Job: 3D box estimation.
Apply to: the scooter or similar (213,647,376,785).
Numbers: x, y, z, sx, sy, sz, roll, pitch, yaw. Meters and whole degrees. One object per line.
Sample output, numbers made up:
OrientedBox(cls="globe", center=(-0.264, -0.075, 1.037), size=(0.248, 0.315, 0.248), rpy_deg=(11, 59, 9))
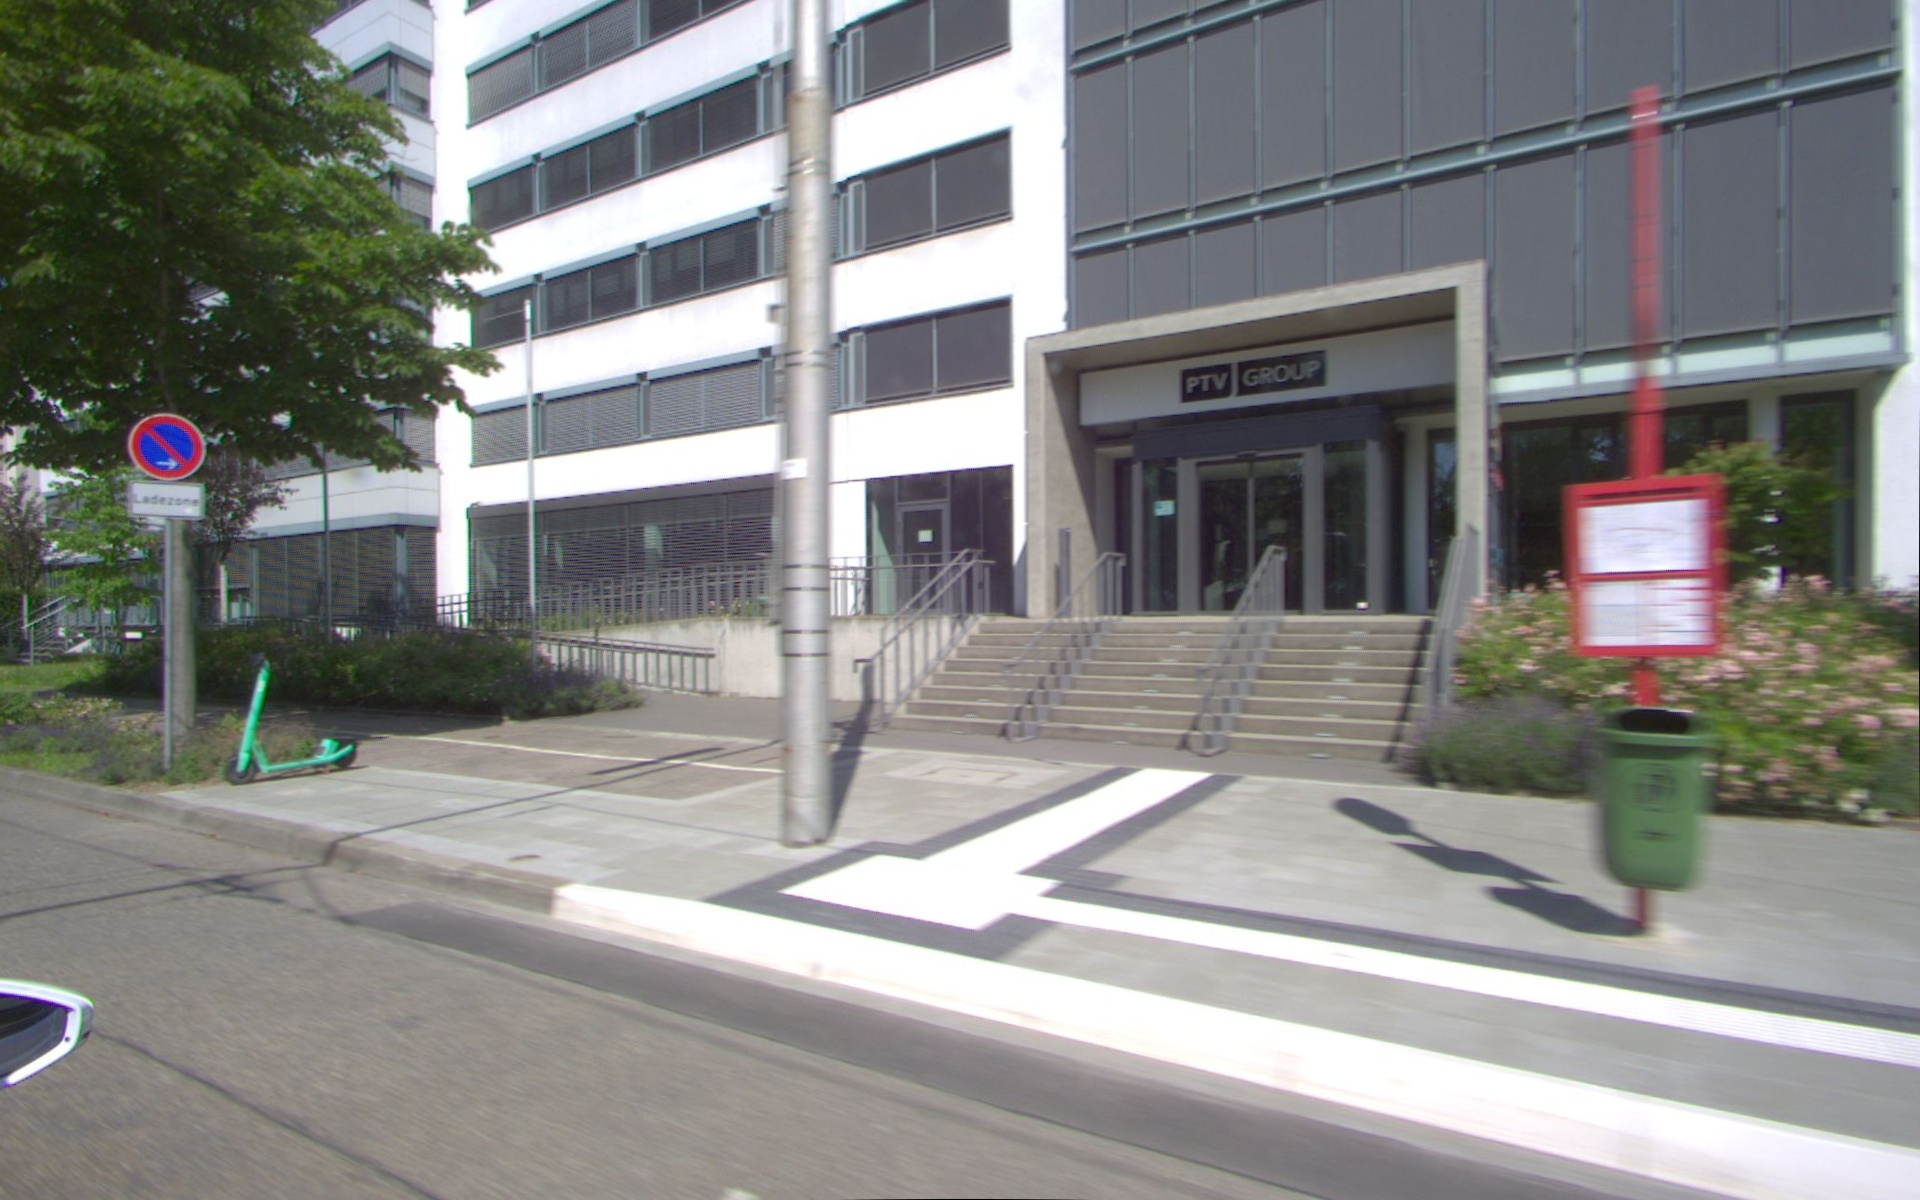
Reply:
OrientedBox(cls="scooter or similar", center=(-6.319, 1.062, 9.546), size=(0.666, 1.182, 1.123), rpy_deg=(0, 0, 34))
